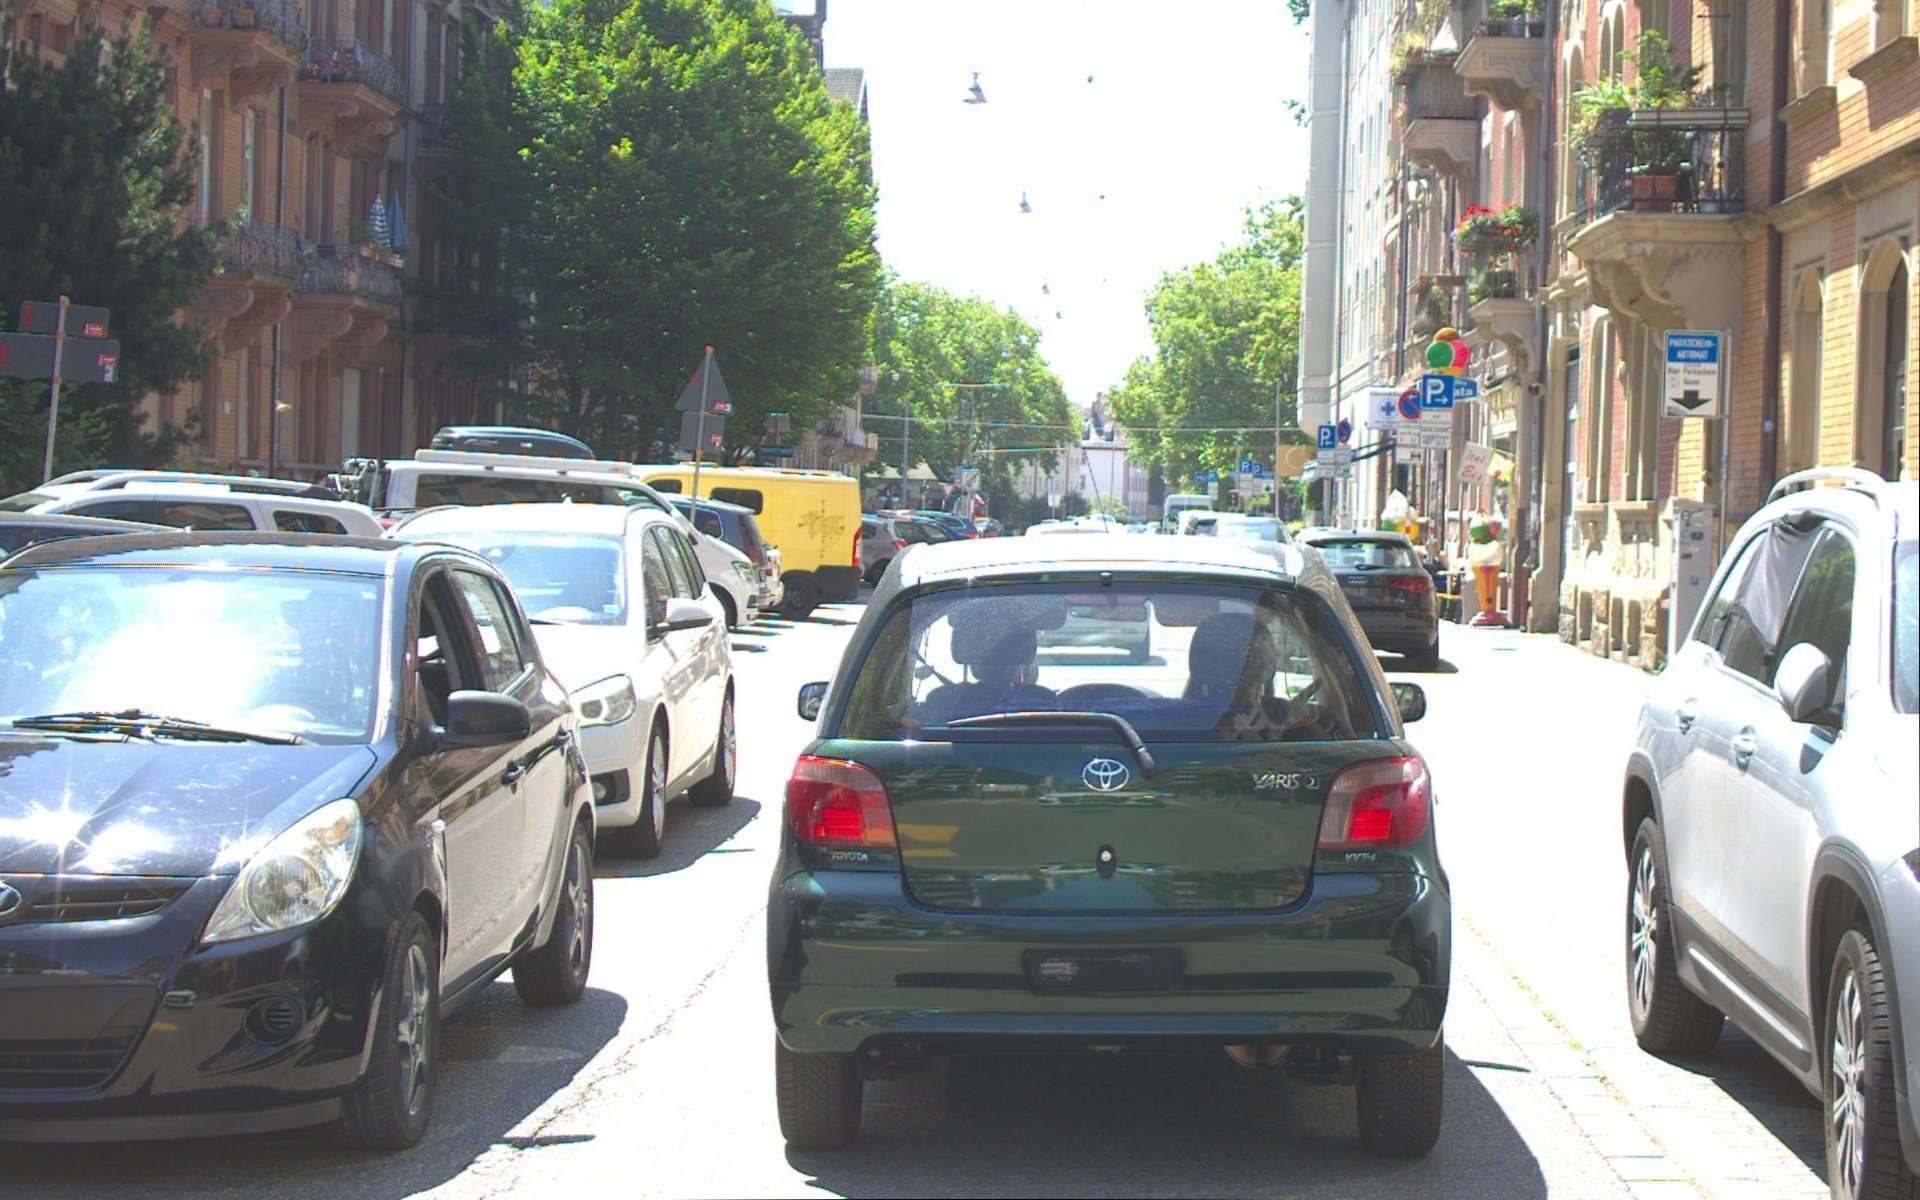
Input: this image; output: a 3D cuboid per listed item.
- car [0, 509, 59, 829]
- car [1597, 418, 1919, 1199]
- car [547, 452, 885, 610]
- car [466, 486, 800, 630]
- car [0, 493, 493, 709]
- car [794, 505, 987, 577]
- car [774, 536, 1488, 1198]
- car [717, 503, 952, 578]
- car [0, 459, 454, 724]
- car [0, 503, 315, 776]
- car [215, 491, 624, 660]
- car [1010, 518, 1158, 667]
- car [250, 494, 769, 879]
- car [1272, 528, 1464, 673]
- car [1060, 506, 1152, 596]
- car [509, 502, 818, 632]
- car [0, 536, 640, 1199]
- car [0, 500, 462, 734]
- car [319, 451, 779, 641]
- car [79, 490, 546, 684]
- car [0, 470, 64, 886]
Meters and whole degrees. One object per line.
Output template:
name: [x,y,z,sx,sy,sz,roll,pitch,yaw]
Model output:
car: [-6.216,0.217,16.063,3.618,1.453,1.625,3,1,-23]
car: [2.787,0.481,8.441,1.872,1.707,4.503,0,1,4]
car: [-3.647,-1.028,51.362,4.557,2.180,2.001,2,1,-24]
car: [-4.251,-0.545,44.625,3.909,1.702,1.866,2,1,-20]
car: [-6.008,0.000,28.348,3.909,1.613,1.866,2,1,-20]
car: [-1.831,-1.562,90.678,4.605,1.720,2.001,2,1,-24]
car: [0.355,0.580,9.421,1.613,1.480,3.241,0,1,-1]
car: [-2.686,-1.267,73.619,4.557,1.423,2.001,2,1,-24]
car: [-5.504,-0.073,22.384,3.911,1.613,1.866,1,2,-37]
car: [-5.839,0.179,19.267,3.910,1.465,1.866,1,2,-35]
car: [-5.708,-0.265,36.228,3.909,1.613,1.866,2,1,-20]
car: [1.382,-0.119,38.116,1.522,1.516,3.264,2,2,2]
car: [-2.075,0.330,17.073,1.755,1.639,4.377,-1,1,3]
car: [4.302,-0.039,36.765,1.755,1.424,4.000,1,1,3]
car: [2.725,-0.929,63.823,1.522,1.587,3.263,2,2,5]
car: [-4.098,-0.457,47.436,3.861,1.634,1.786,2,1,-20]
car: [-2.064,0.566,9.509,1.755,1.439,4.000,1,1,3]
car: [-5.884,0.106,25.741,3.909,1.613,1.866,2,1,-20]
car: [-4.704,-0.613,39.392,4.772,1.987,2.054,1,1,-26]
car: [-5.962,-0.126,31.578,3.909,1.613,1.866,2,1,-20]
car: [-5.810,0.187,13.944,3.985,1.652,1.760,3,1,-20]
